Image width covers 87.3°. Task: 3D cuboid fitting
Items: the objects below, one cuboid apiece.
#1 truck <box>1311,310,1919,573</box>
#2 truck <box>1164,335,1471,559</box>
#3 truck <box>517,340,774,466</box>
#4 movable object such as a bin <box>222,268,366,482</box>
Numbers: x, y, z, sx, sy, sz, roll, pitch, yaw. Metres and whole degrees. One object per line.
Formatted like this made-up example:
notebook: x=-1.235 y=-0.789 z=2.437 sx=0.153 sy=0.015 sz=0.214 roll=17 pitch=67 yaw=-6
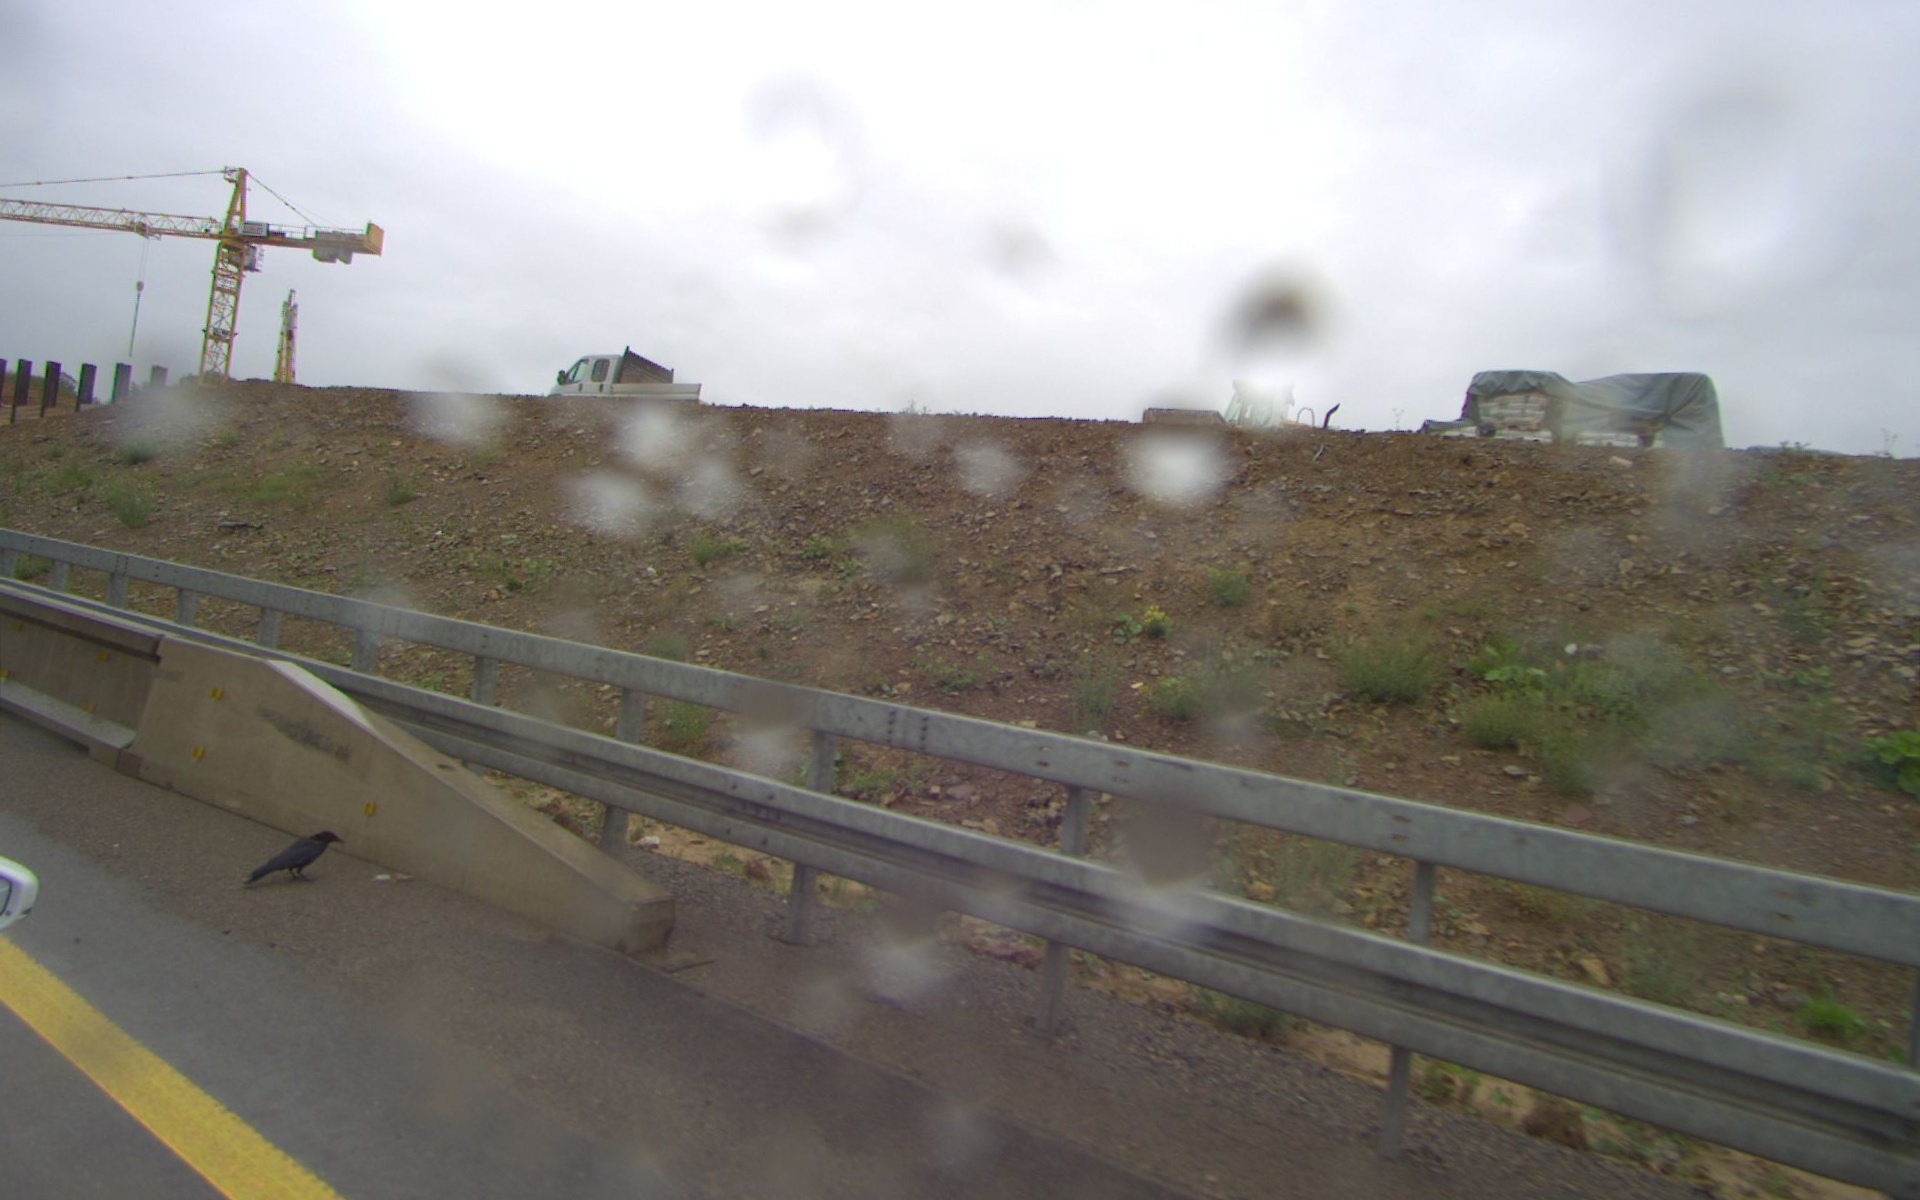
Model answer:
truck: x=10.537 y=-2.265 z=15.716 sx=8.816 sy=2.908 sz=3.400 roll=5 pitch=-2 yaw=33
truck: x=8.045 y=-3.343 z=22.827 sx=5.880 sy=4.268 sz=2.377 roll=5 pitch=-1 yaw=31
truck: x=-8.728 y=-5.263 z=27.678 sx=6.868 sy=2.584 sz=2.650 roll=5 pitch=-2 yaw=31
movable object such as a bin: x=-41.463 y=-13.400 z=62.442 sx=4.706 sy=10.970 sz=10.178 roll=7 pitch=-2 yaw=-44
